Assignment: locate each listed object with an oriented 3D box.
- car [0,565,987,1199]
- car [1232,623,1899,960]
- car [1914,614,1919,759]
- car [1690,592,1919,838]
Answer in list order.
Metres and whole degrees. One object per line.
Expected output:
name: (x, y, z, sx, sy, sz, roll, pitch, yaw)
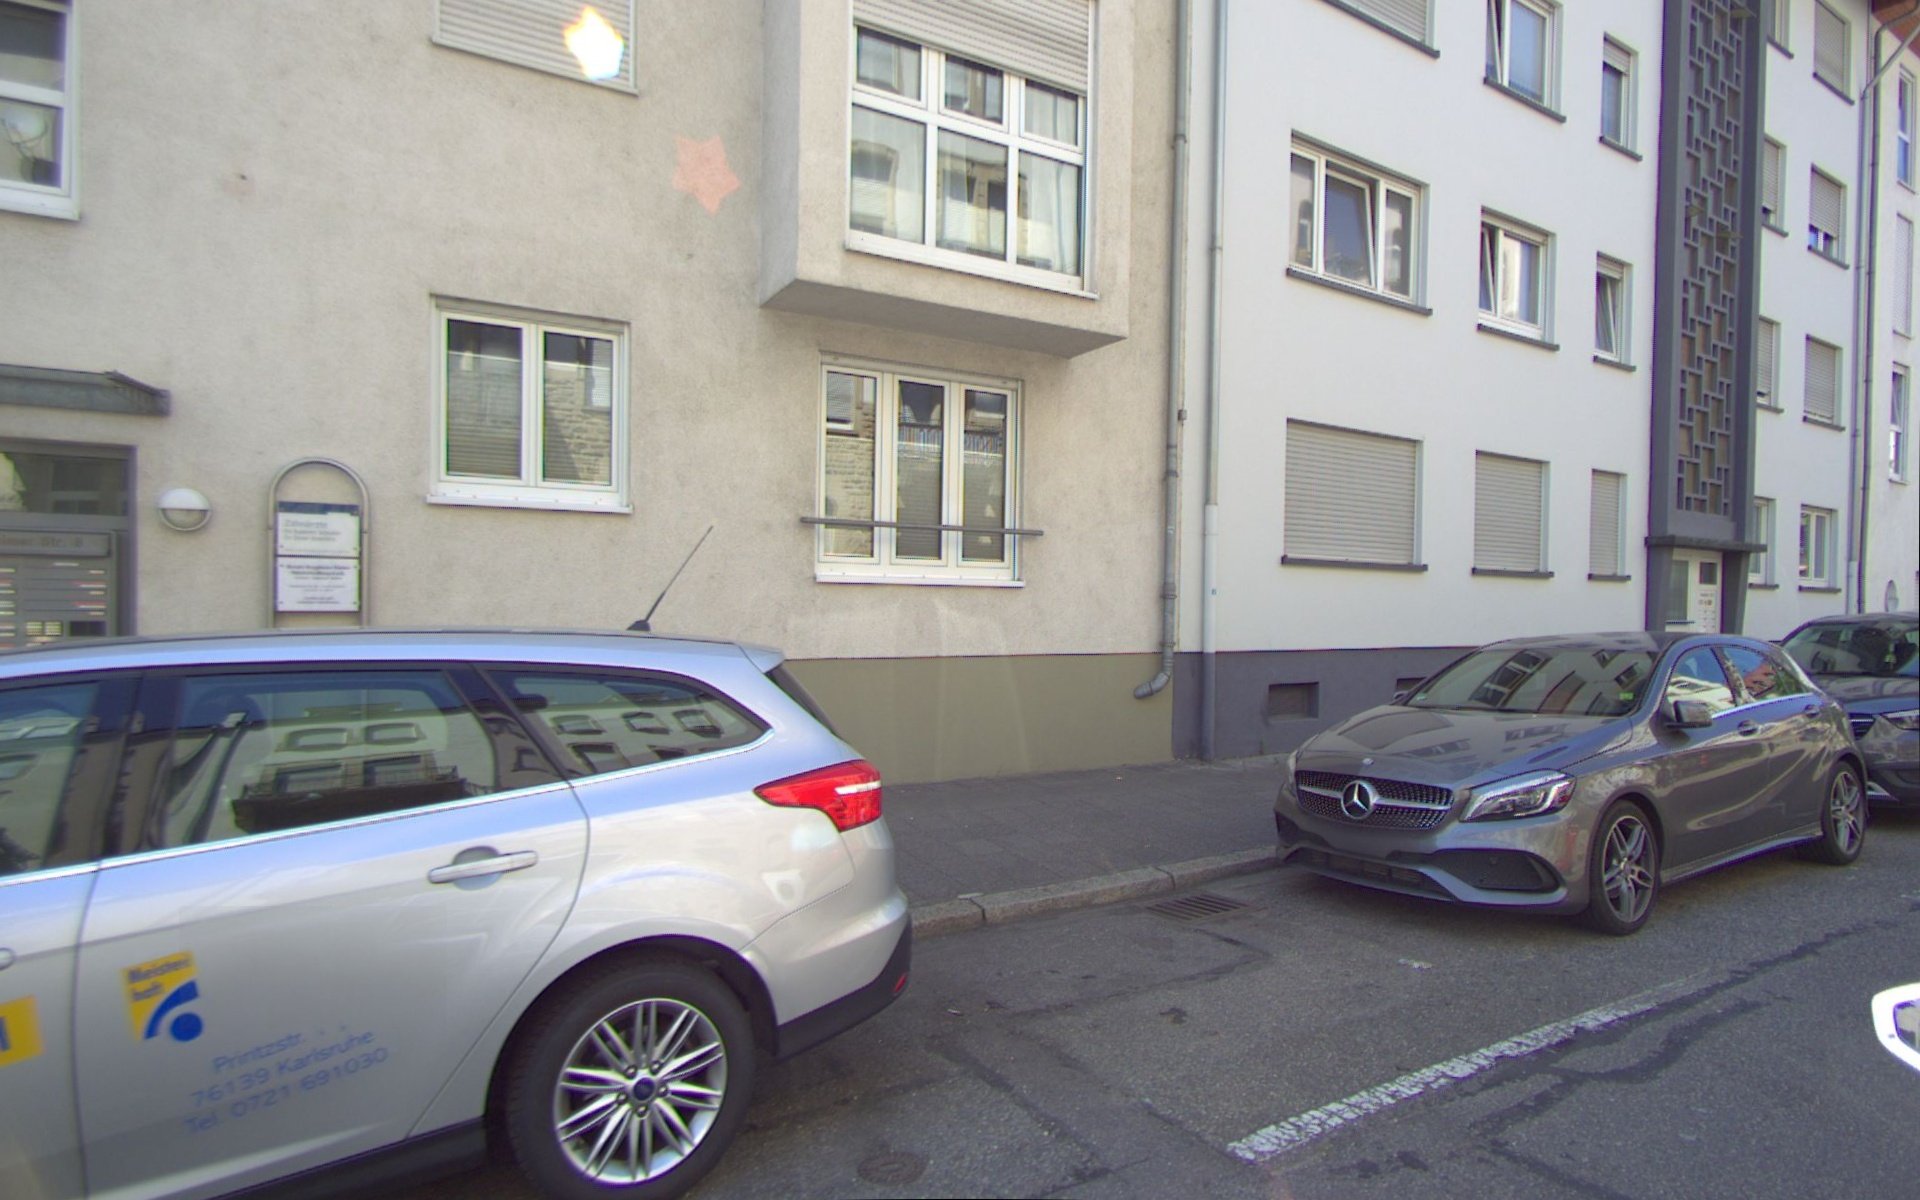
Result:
car: (-2.186, 0.731, 2.662, 4.300, 1.514, 1.721, 1, -3, -32)
car: (3.828, 0.864, 6.136, 4.300, 1.411, 1.755, 1, -2, -32)
car: (12.558, 0.932, 11.238, 4.620, 1.538, 1.647, 1, -2, -32)
car: (7.886, 0.826, 8.343, 3.933, 1.666, 1.595, 1, -2, -32)
